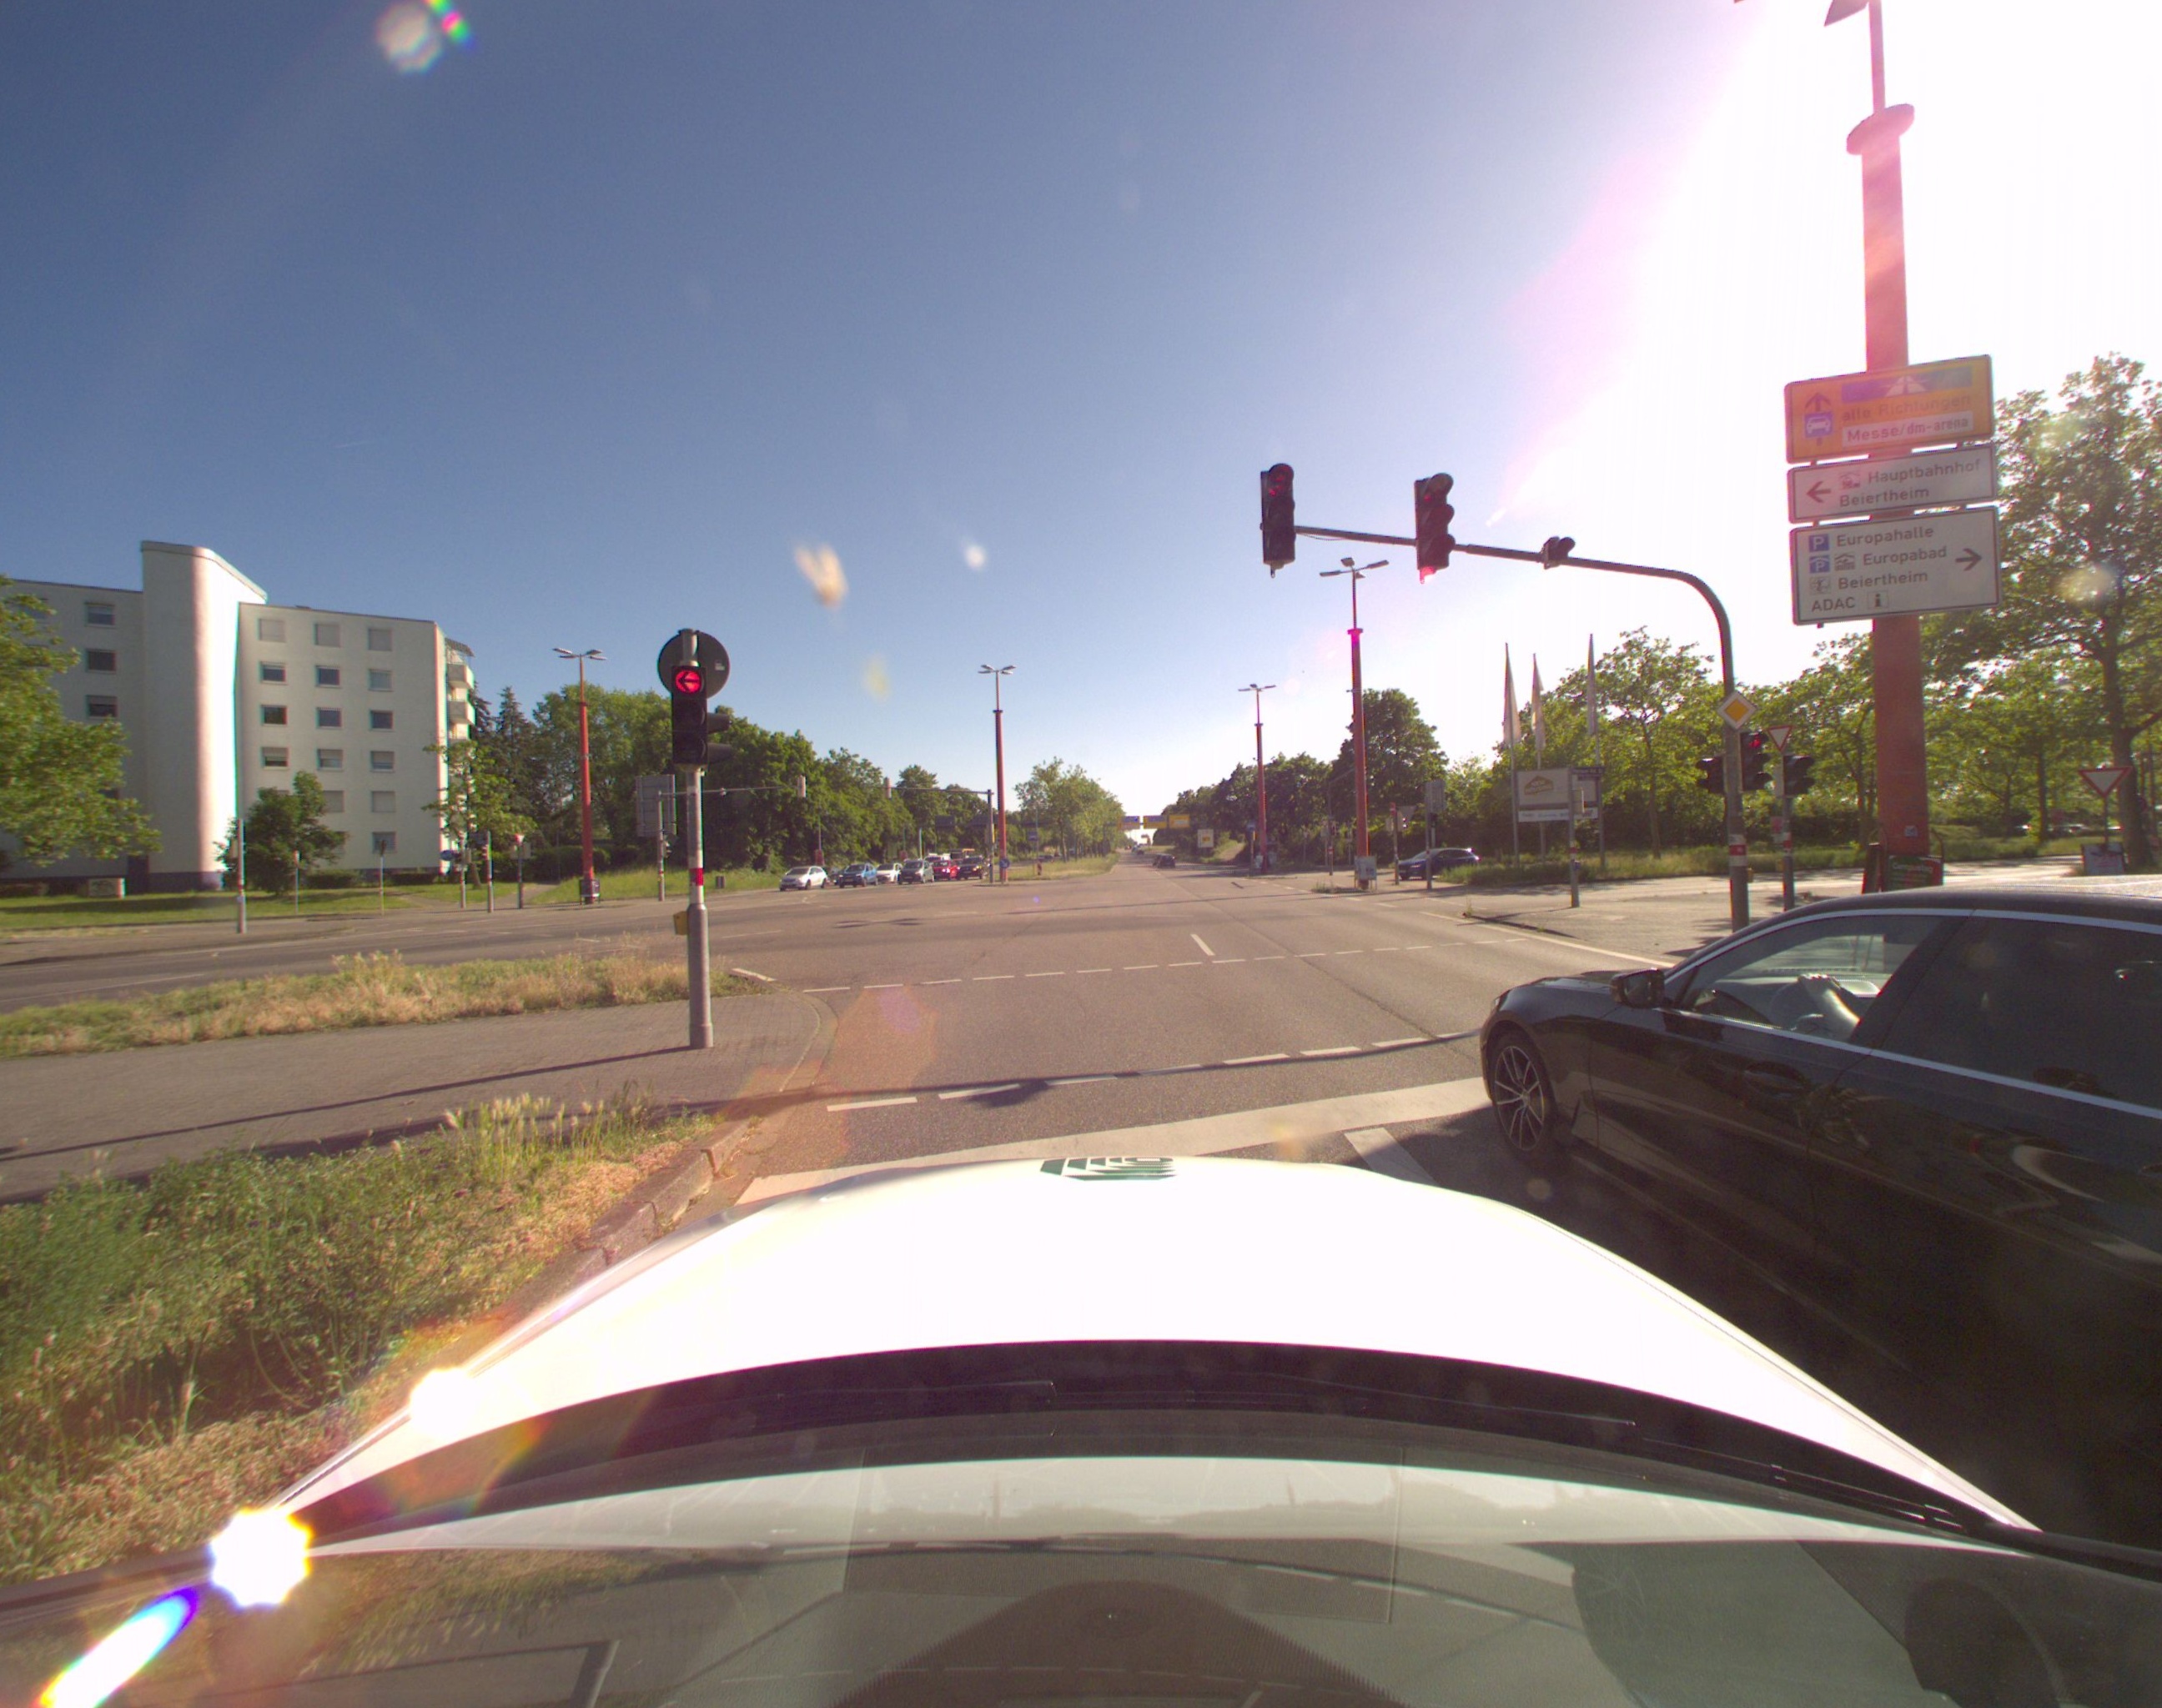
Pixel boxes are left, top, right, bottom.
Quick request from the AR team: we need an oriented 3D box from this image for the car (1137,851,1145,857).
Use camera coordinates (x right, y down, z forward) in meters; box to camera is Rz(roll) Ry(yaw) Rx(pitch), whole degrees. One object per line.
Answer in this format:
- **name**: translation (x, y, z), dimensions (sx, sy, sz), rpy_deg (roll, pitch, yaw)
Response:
- **car**: translation (16.279, 0.043, 220.585), dimensions (2.149, 1.573, 4.285), rpy_deg (-2, 0, 4)

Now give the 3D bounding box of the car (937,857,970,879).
- **car**: translation (-10.064, 1.092, 64.651), dimensions (1.988, 1.573, 4.118), rpy_deg (-2, 0, -1)

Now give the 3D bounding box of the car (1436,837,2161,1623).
- **car**: translation (2.957, 0.665, 2.371), dimensions (1.986, 1.394, 4.479), rpy_deg (-2, 0, 2)

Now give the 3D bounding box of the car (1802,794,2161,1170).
- **car**: translation (5.804, 0.559, 3.260), dimensions (1.959, 1.686, 4.479), rpy_deg (-1, 0, 2)

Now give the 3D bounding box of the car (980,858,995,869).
- **car**: translation (-14.406, 1.483, 125.499), dimensions (1.872, 1.573, 4.117), rpy_deg (-2, 0, -2)

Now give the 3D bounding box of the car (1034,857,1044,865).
- **car**: translation (-8.428, 1.372, 162.283), dimensions (1.872, 1.573, 4.117), rpy_deg (-2, 0, -2)

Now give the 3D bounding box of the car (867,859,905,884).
- **car**: translation (-13.737, 1.215, 57.521), dimensions (1.991, 1.573, 4.112), rpy_deg (-3, 0, -6)

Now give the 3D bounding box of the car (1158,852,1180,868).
- **car**: translation (9.337, 0.615, 86.906), dimensions (2.149, 1.573, 4.286), rpy_deg (-2, 0, 4)

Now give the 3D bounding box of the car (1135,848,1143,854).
- **car**: translation (17.514, -0.870, 246.378), dimensions (2.151, 1.573, 4.281), rpy_deg (-2, 0, 1)

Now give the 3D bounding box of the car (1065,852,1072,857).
- **car**: translation (-3.585, 0.119, 231.314), dimensions (1.872, 1.573, 4.117), rpy_deg (-2, 0, -2)

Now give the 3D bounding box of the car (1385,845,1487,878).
- **car**: translation (17.058, 0.342, 39.155), dimensions (4.276, 1.428, 1.874), rpy_deg (-2, 0, -16)

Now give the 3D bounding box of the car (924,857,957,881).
- **car**: translation (-10.102, 1.045, 58.869), dimensions (1.991, 1.573, 4.112), rpy_deg (-2, 0, -6)

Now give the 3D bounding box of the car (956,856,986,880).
- **car**: translation (-7.564, 0.938, 56.487), dimensions (1.874, 1.573, 4.112), rpy_deg (-2, 0, -6)

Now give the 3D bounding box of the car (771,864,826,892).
- **car**: translation (-17.691, 1.466, 51.178), dimensions (1.987, 1.573, 4.120), rpy_deg (-2, 0, 0)

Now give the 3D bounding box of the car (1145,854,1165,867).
- **car**: translation (9.522, 0.765, 105.210), dimensions (2.152, 1.573, 4.582), rpy_deg (-2, 0, 0)

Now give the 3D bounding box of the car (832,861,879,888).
- **car**: translation (-14.234, 1.283, 51.638), dimensions (1.989, 1.573, 4.116), rpy_deg (-2, 0, -3)

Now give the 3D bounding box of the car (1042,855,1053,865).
- **car**: translation (-5.608, 1.034, 137.253), dimensions (1.872, 1.573, 4.117), rpy_deg (-2, 0, -2)

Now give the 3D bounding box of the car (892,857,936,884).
- **car**: translation (-10.730, 1.045, 52.578), dimensions (1.988, 1.573, 4.119), rpy_deg (-2, 0, -1)

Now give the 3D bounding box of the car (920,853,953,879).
- **car**: translation (-12.734, 1.052, 71.984), dimensions (2.055, 2.193, 4.377), rpy_deg (-2, 0, 0)

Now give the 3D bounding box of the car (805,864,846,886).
- **car**: translation (-20.032, 1.633, 64.038), dimensions (1.989, 1.598, 4.217), rpy_deg (-2, 0, -2)
